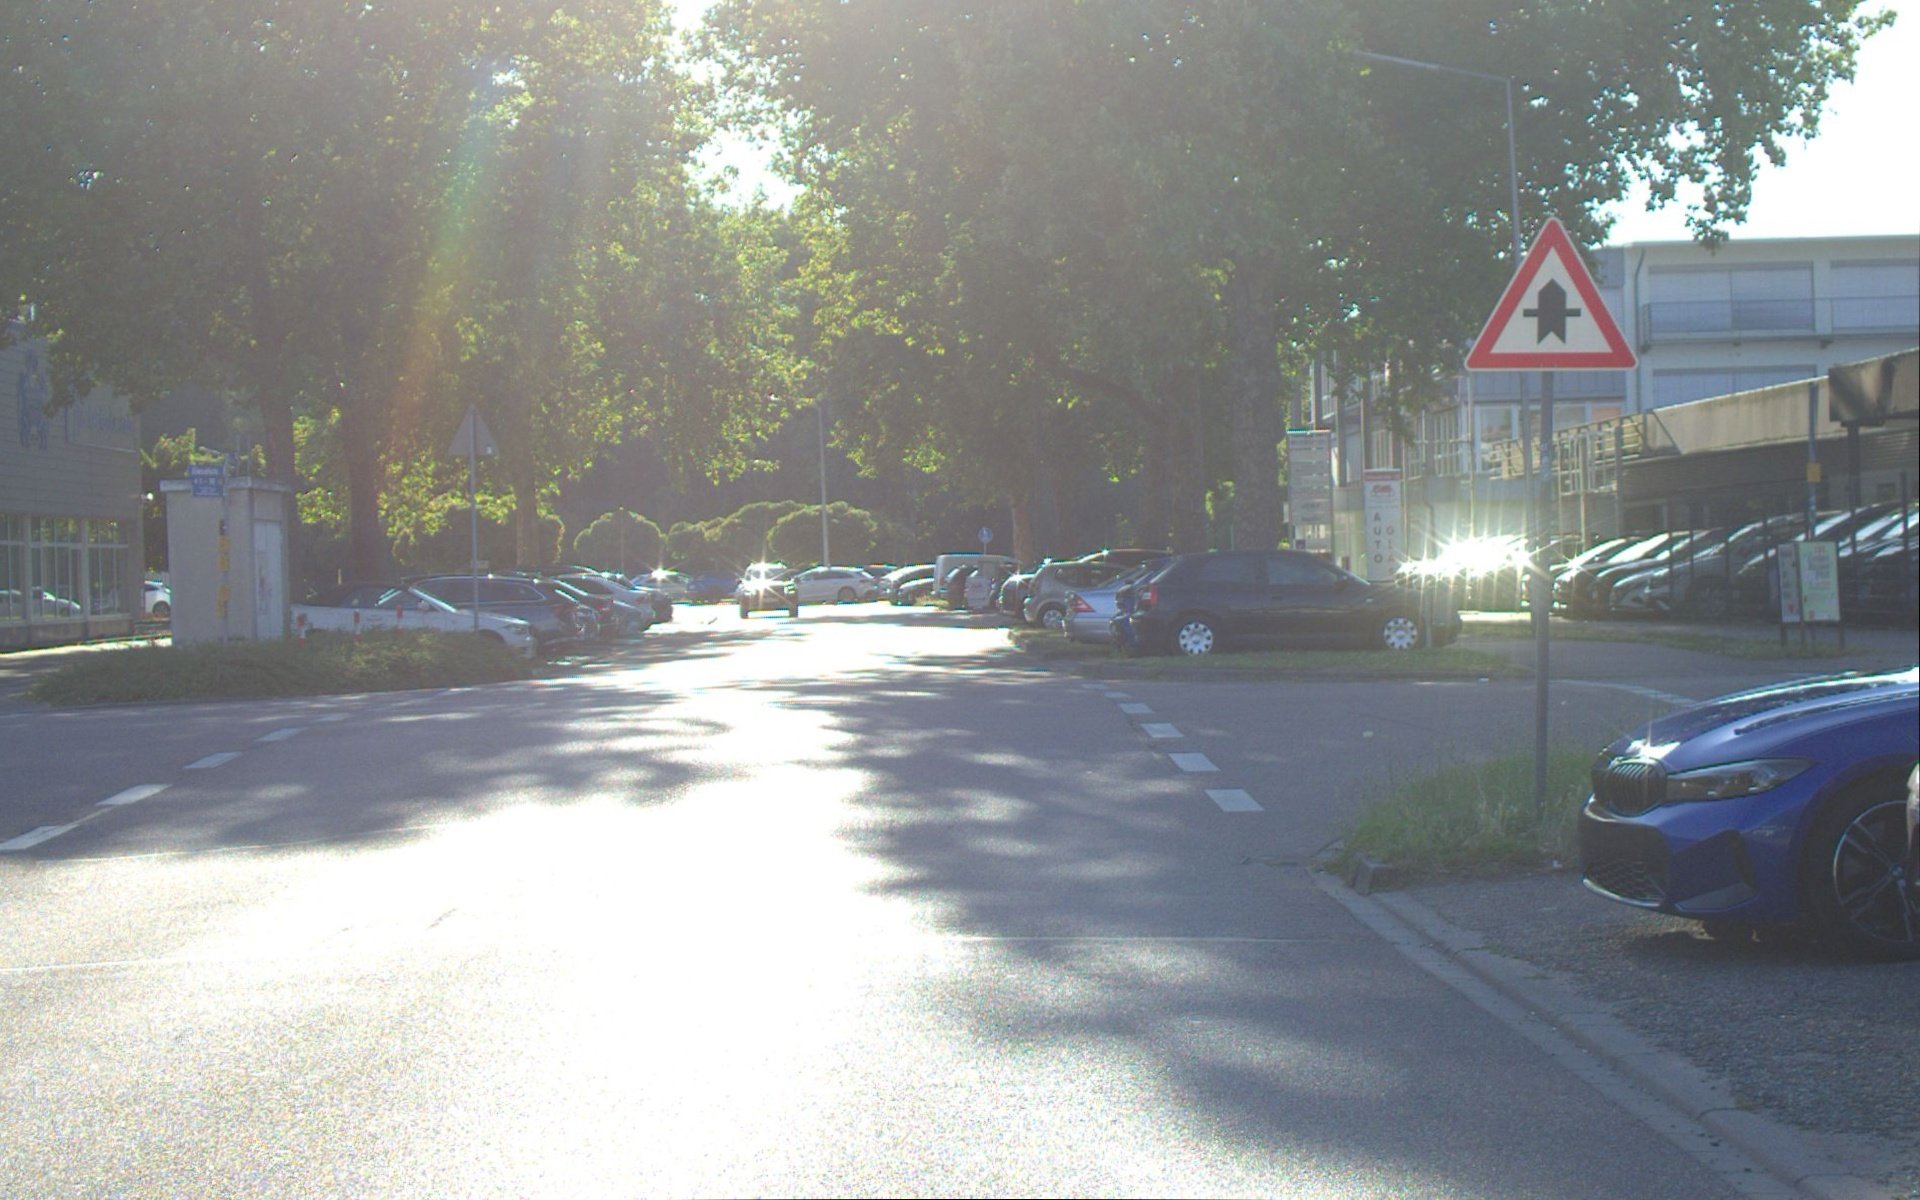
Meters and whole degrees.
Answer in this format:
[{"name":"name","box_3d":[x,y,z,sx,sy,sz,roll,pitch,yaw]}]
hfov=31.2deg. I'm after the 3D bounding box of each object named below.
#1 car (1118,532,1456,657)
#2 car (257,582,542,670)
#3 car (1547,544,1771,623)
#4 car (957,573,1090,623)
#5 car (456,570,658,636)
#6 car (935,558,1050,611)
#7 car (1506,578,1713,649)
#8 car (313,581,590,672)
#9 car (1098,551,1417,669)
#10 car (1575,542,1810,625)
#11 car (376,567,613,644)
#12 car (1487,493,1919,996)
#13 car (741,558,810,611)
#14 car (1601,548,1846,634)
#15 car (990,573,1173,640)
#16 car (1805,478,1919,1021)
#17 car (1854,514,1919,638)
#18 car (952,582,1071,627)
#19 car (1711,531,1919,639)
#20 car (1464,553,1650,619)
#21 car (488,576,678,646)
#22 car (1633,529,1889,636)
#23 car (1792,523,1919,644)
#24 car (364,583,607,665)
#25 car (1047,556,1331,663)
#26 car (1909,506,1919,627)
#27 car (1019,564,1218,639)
[{"name":"car","box_3d":[4.067,-0.066,43.254,3.987,1.411,2.000,-2,0,-1]},{"name":"car","box_3d":[-8.976,0.409,55.364,4.414,1.398,2.000,0,0,-6]},{"name":"car","box_3d":[13.793,-0.321,67.973,3.986,1.541,2.000,0,0,-2]},{"name":"car","box_3d":[1.938,-0.067,106.058,3.987,1.411,1.827,-2,0,-1]},{"name":"car","box_3d":[-9.274,0.070,79.336,4.415,1.512,2.000,0,0,1]},{"name":"car","box_3d":[1.137,-0.550,122.004,3.987,1.771,1.827,-2,0,-1]},{"name":"car","box_3d":[13.796,0.277,73.181,3.986,1.499,2.000,0,0,-2]},{"name":"car","box_3d":[-8.515,0.438,57.829,4.415,1.512,2.000,0,0,-2]},{"name":"car","box_3d":[3.897,0.125,45.541,3.987,1.411,2.000,-2,0,-1]},{"name":"car","box_3d":[13.866,-0.314,65.245,3.986,1.541,2.000,0,0,-2]},{"name":"car","box_3d":[-9.183,0.109,68.106,4.415,1.512,2.000,0,0,1]},{"name":"car","box_3d":[4.447,0.393,12.874,4.523,1.667,1.753,-3,0,-4]},{"name":"car","box_3d":[-5.754,-0.472,107.666,1.993,1.603,4.000,1,0,-1]},{"name":"car","box_3d":[13.920,-0.162,62.809,3.986,1.541,2.000,0,0,-2]},{"name":"car","box_3d":[2.712,0.140,77.446,3.987,1.376,1.827,-2,0,-1]},{"name":"car","box_3d":[4.855,0.322,10.489,3.986,1.646,1.743,-4,0,-3]},{"name":"car","box_3d":[14.311,-0.317,46.329,3.986,1.629,2.000,0,0,-2]},{"name":"car","box_3d":[1.757,0.159,118.466,3.987,1.411,1.827,-2,0,-1]},{"name":"car","box_3d":[14.243,-0.234,55.004,3.986,1.694,2.000,0,0,-2]},{"name":"car","box_3d":[14.012,-0.330,80.840,3.986,1.541,2.000,0,0,-2]},{"name":"car","box_3d":[-9.221,0.265,84.307,4.415,1.692,2.000,0,0,1]},{"name":"car","box_3d":[14.011,-0.303,60.256,3.986,1.826,2.000,0,0,-2]},{"name":"car","box_3d":[14.101,-0.231,48.968,3.986,1.694,2.000,0,0,-2]},{"name":"car","box_3d":[-8.929,0.447,64.968,4.415,1.512,2.000,0,0,-4]},{"name":"car","box_3d":[3.329,0.136,50.590,3.987,1.411,1.827,-2,0,-1]},{"name":"car","box_3d":[14.392,-0.429,43.853,3.986,1.563,2.000,0,0,-2]},{"name":"car","box_3d":[3.271,0.028,71.472,3.987,1.411,1.827,-2,0,-1]}]
